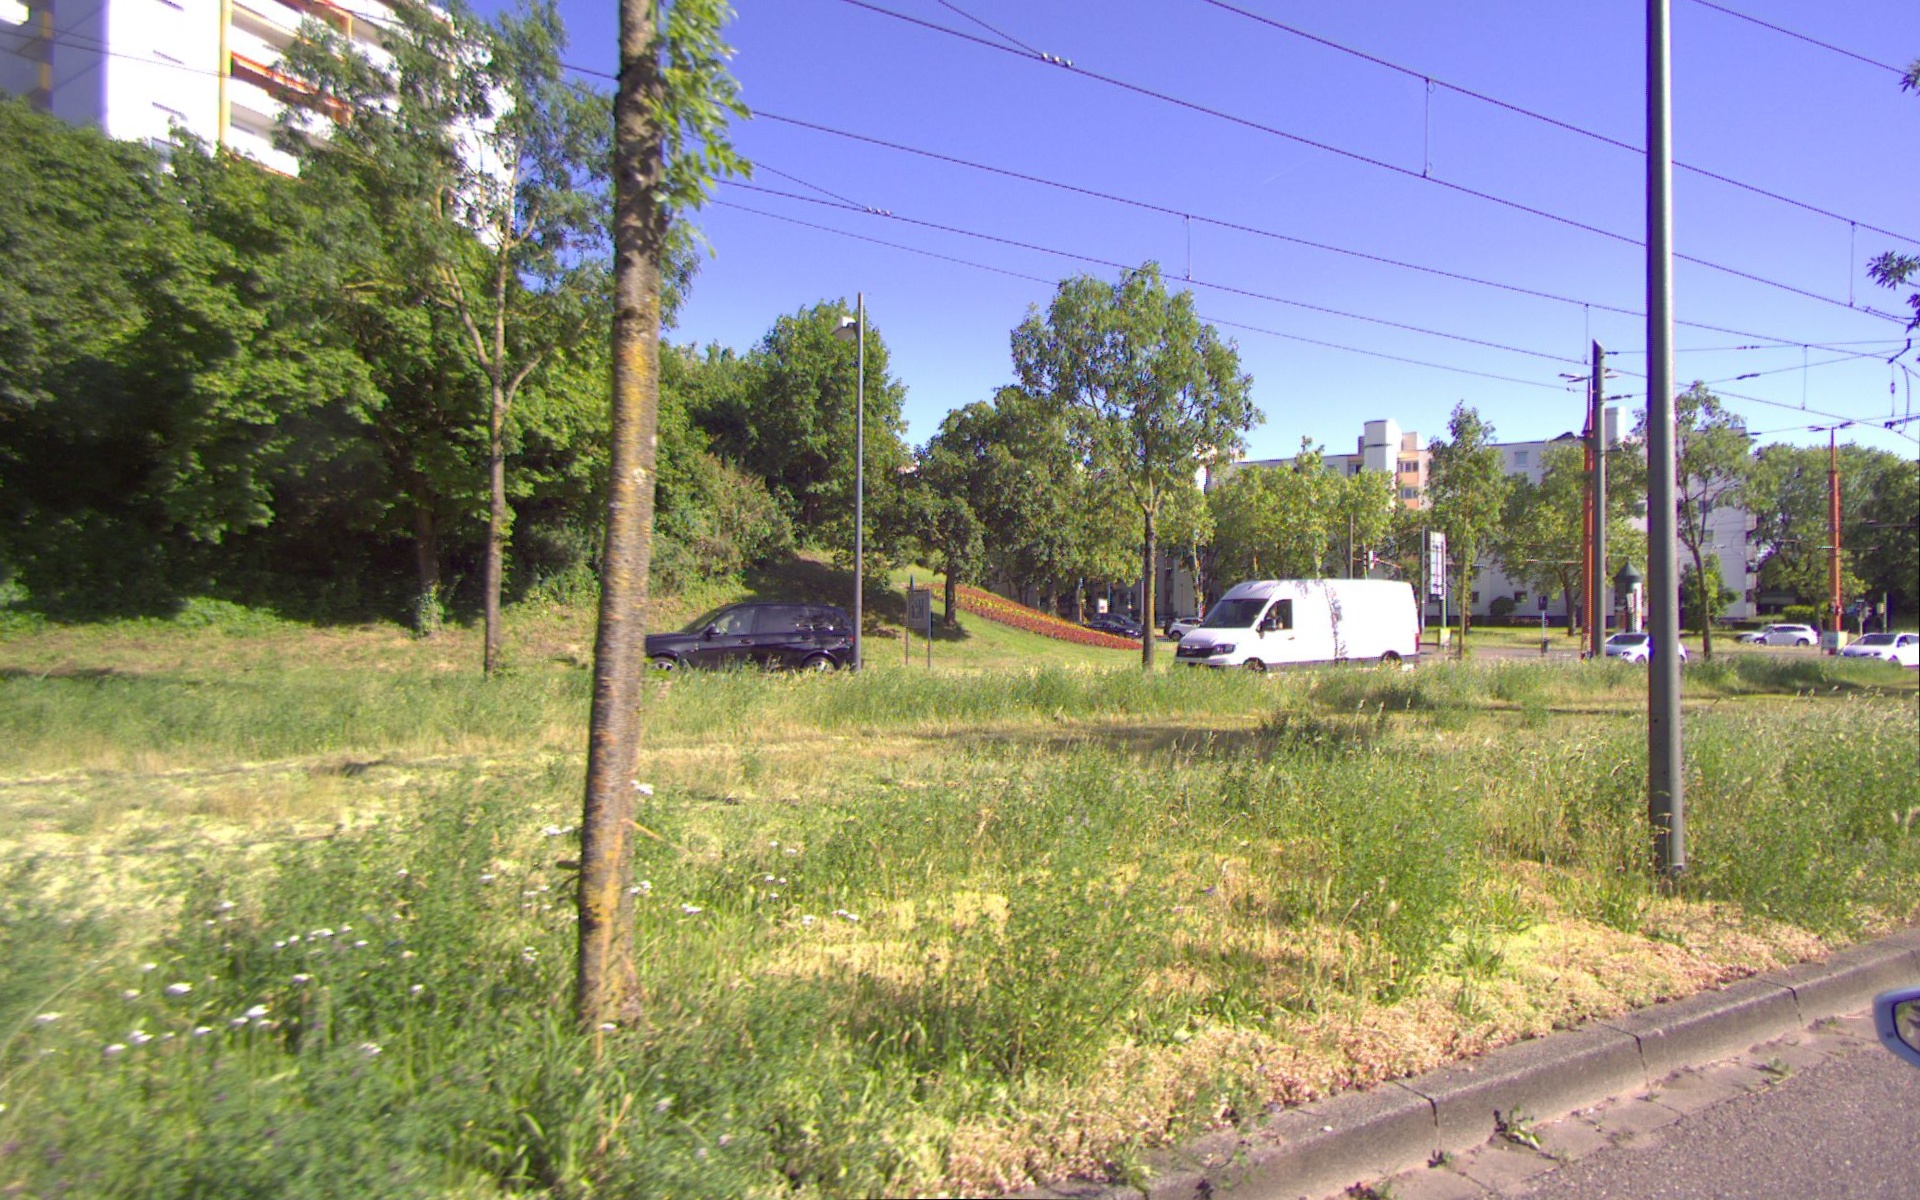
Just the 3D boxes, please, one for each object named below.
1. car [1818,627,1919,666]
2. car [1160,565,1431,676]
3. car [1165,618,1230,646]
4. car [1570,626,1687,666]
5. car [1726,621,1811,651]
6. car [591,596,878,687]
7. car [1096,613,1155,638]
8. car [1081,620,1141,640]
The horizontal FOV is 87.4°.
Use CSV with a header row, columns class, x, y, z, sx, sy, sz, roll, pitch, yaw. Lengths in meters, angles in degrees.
class,x,y,z,sx,sy,sz,roll,pitch,yaw
car,36.874,1.863,40.314,4.478,1.416,1.895,1,0,-23
car,8.146,0.504,24.129,6.794,2.400,2.031,1,0,-28
car,16.367,2.157,69.189,3.931,1.773,1.908,1,0,32
car,24.093,1.646,36.188,3.948,1.310,1.791,1,0,-27
car,57.856,2.537,71.957,4.318,2.040,2.001,0,0,12
car,-4.426,0.790,19.912,5.206,1.605,1.986,1,0,-28
car,12.361,1.880,74.986,3.931,1.773,1.908,1,0,32
car,10.978,2.158,72.977,3.931,1.340,1.731,1,0,32
